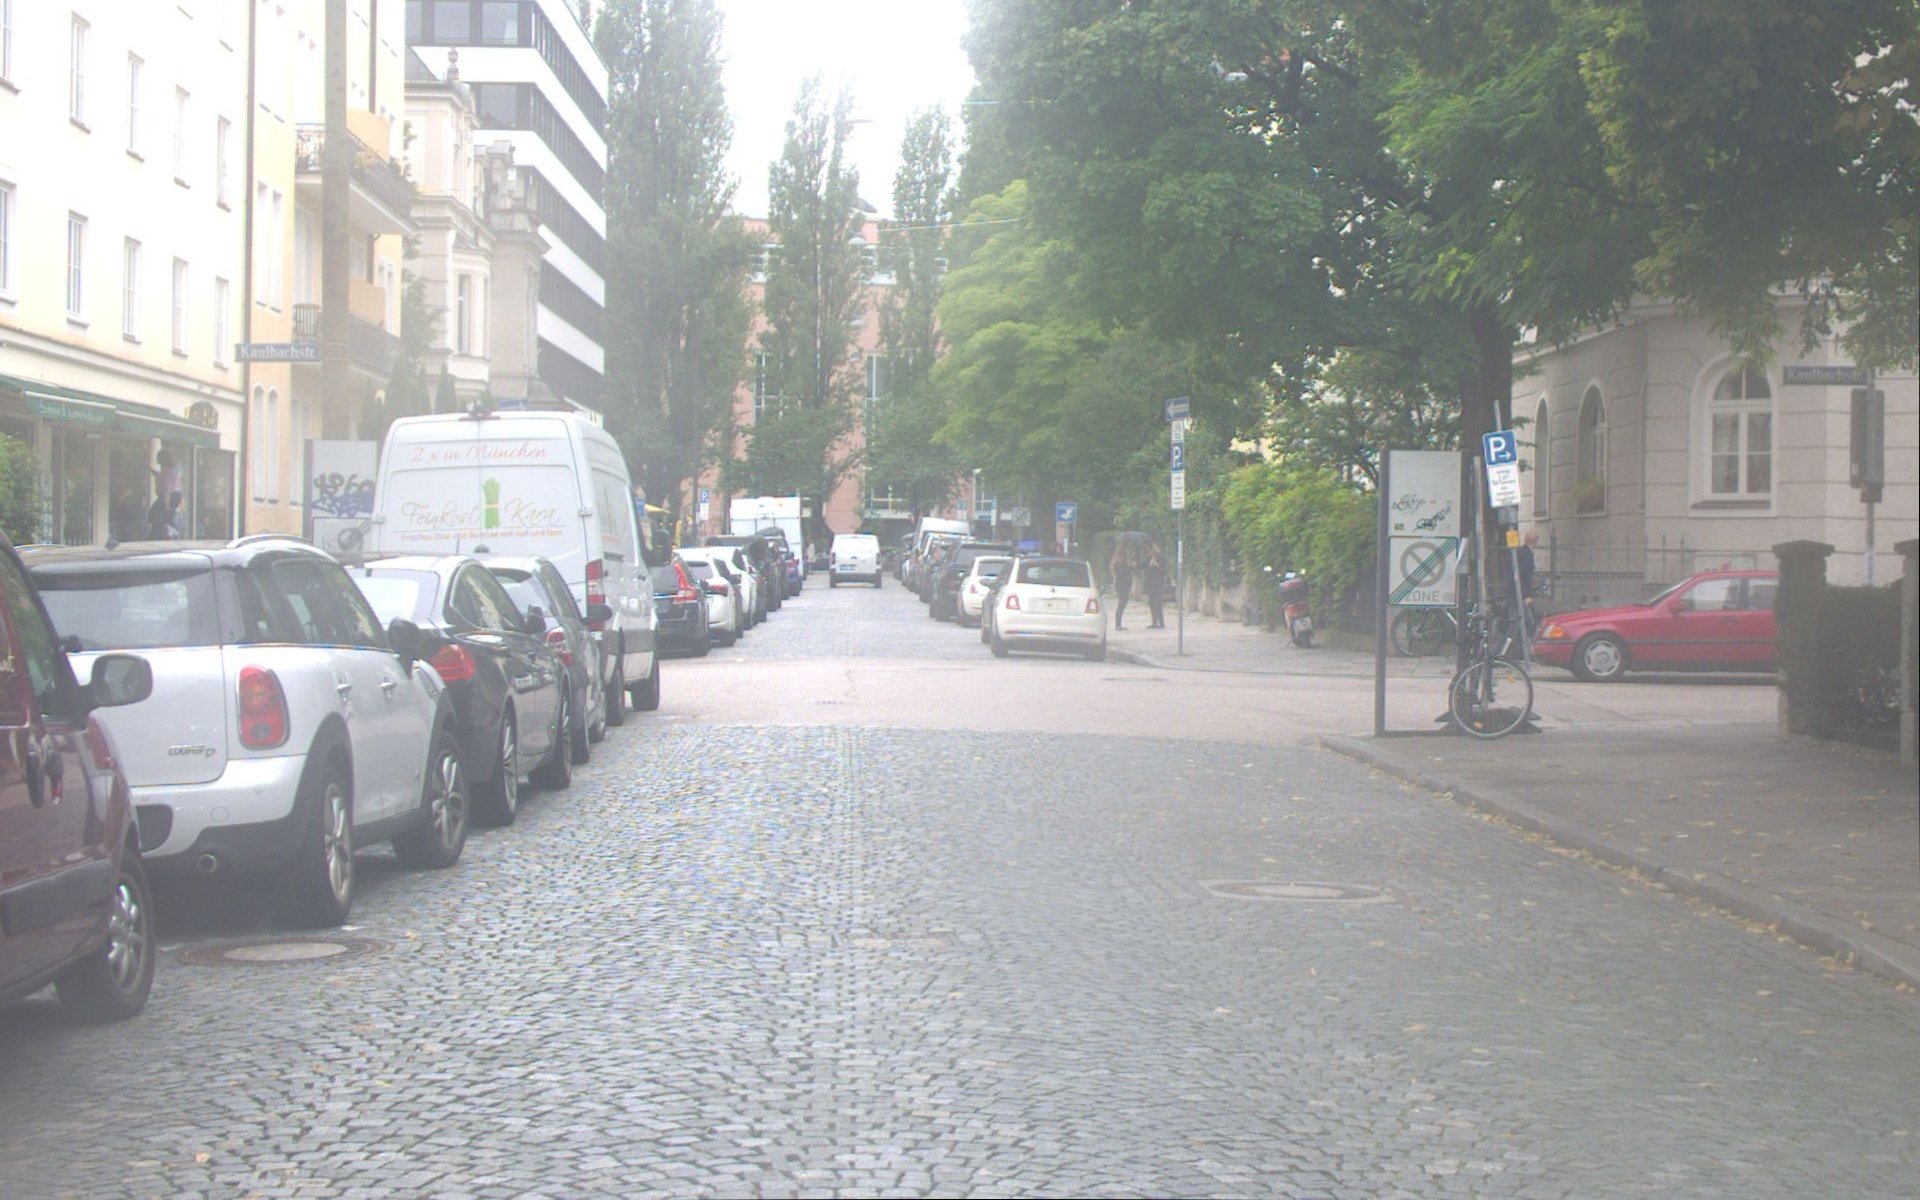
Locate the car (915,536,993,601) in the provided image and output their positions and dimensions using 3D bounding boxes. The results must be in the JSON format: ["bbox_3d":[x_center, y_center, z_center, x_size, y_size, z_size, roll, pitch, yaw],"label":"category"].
[{"bbox_3d":[-0.197,-0.894,97.122,1.963,1.753,4.955,2,0,-3],"label":"car"}]

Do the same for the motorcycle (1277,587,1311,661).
[{"bbox_3d":[5.004,0.354,51.603,0.362,1.086,1.403,2,0,1],"label":"motorcycle"}]

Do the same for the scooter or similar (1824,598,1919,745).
[{"bbox_3d":[7.822,0.578,27.724,1.604,1.168,0.404,0,0,22],"label":"scooter or similar"}]

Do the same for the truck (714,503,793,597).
[{"bbox_3d":[-6.873,-1.710,114.939,2.508,3.021,6.385,-1,1,-3],"label":"truck"}]

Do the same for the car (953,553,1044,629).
[{"bbox_3d":[0.779,-0.200,71.518,1.630,1.464,3.659,3,0,-2],"label":"car"}]

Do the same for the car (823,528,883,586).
[{"bbox_3d":[-3.696,-1.470,119.226,1.996,1.929,4.000,1,0,-1],"label":"car"}]

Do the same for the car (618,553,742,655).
[{"bbox_3d":[-4.494,0.031,55.641,1.773,1.531,4.541,1,1,-2],"label":"car"}]

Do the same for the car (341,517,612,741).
[{"bbox_3d":[-3.488,0.180,25.374,1.661,1.477,3.983,1,0,-4],"label":"car"}]

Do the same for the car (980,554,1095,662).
[{"bbox_3d":[1.114,0.098,50.915,1.502,1.466,3.795,3,0,-1],"label":"car"}]

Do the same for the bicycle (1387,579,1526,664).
[{"bbox_3d":[6.805,0.292,47.125,1.838,1.120,0.562,1,1,12],"label":"bicycle"}]

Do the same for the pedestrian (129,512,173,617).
[{"bbox_3d":[-12.894,-0.565,54.803,0.522,1.637,0.630,2,0,-2],"label":"pedestrian"}]

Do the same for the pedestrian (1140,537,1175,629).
[{"bbox_3d":[3.925,-0.347,68.294,0.628,1.802,0.660,2,0,5],"label":"pedestrian"}]

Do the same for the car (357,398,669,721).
[{"bbox_3d":[-3.832,-0.349,30.499,1.977,2.565,5.794,-1,0,0],"label":"car"}]

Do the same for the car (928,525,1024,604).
[{"bbox_3d":[0.311,-0.785,76.735,1.875,1.667,5.491,2,0,-2],"label":"car"}]

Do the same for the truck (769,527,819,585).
[{"bbox_3d":[-6.897,-1.821,143.227,1.993,2.338,4.068,2,0,-2],"label":"truck"}]

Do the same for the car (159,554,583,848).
[{"bbox_3d":[-3.260,0.487,19.838,1.725,1.459,4.473,-1,1,-1],"label":"car"}]

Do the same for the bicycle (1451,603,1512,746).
[{"bbox_3d":[4.347,0.608,28.695,0.388,1.143,1.589,1,0,5],"label":"bicycle"}]

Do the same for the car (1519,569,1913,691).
[{"bbox_3d":[9.092,0.346,41.643,4.468,1.353,1.760,1,1,6],"label":"car"}]

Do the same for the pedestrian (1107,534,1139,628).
[{"bbox_3d":[3.215,-0.381,67.763,0.576,1.844,0.681,1,1,6],"label":"pedestrian"}]

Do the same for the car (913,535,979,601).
[{"bbox_3d":[-0.470,-1.021,110.063,1.800,1.943,4.861,4,0,-3],"label":"car"}]

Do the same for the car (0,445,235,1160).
[{"bbox_3d":[-3.204,0.477,9.435,1.717,1.717,3.899,0,0,-2],"label":"car"}]

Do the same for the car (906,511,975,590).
[{"bbox_3d":[-0.694,-1.697,115.669,1.895,2.418,5.612,5,1,-3],"label":"car"}]

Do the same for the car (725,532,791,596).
[{"bbox_3d":[-5.717,-1.018,97.696,1.773,1.712,4.391,2,0,-3],"label":"car"}]

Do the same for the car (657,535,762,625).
[{"bbox_3d":[-4.856,-0.392,67.100,1.773,1.642,4.391,2,0,-1],"label":"car"}]

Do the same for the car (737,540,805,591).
[{"bbox_3d":[-5.654,-1.030,102.921,1.939,1.454,4.058,2,0,-3],"label":"car"}]

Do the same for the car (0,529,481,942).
[{"bbox_3d":[-3.196,0.480,14.609,1.693,1.498,3.777,2,0,1],"label":"car"}]

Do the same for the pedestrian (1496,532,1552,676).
[{"bbox_3d":[7.405,0.047,45.161,0.493,1.869,0.743,1,0,-6],"label":"pedestrian"}]

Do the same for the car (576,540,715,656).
[{"bbox_3d":[-4.596,-0.052,50.781,1.852,1.581,4.749,1,0,-3],"label":"car"}]
